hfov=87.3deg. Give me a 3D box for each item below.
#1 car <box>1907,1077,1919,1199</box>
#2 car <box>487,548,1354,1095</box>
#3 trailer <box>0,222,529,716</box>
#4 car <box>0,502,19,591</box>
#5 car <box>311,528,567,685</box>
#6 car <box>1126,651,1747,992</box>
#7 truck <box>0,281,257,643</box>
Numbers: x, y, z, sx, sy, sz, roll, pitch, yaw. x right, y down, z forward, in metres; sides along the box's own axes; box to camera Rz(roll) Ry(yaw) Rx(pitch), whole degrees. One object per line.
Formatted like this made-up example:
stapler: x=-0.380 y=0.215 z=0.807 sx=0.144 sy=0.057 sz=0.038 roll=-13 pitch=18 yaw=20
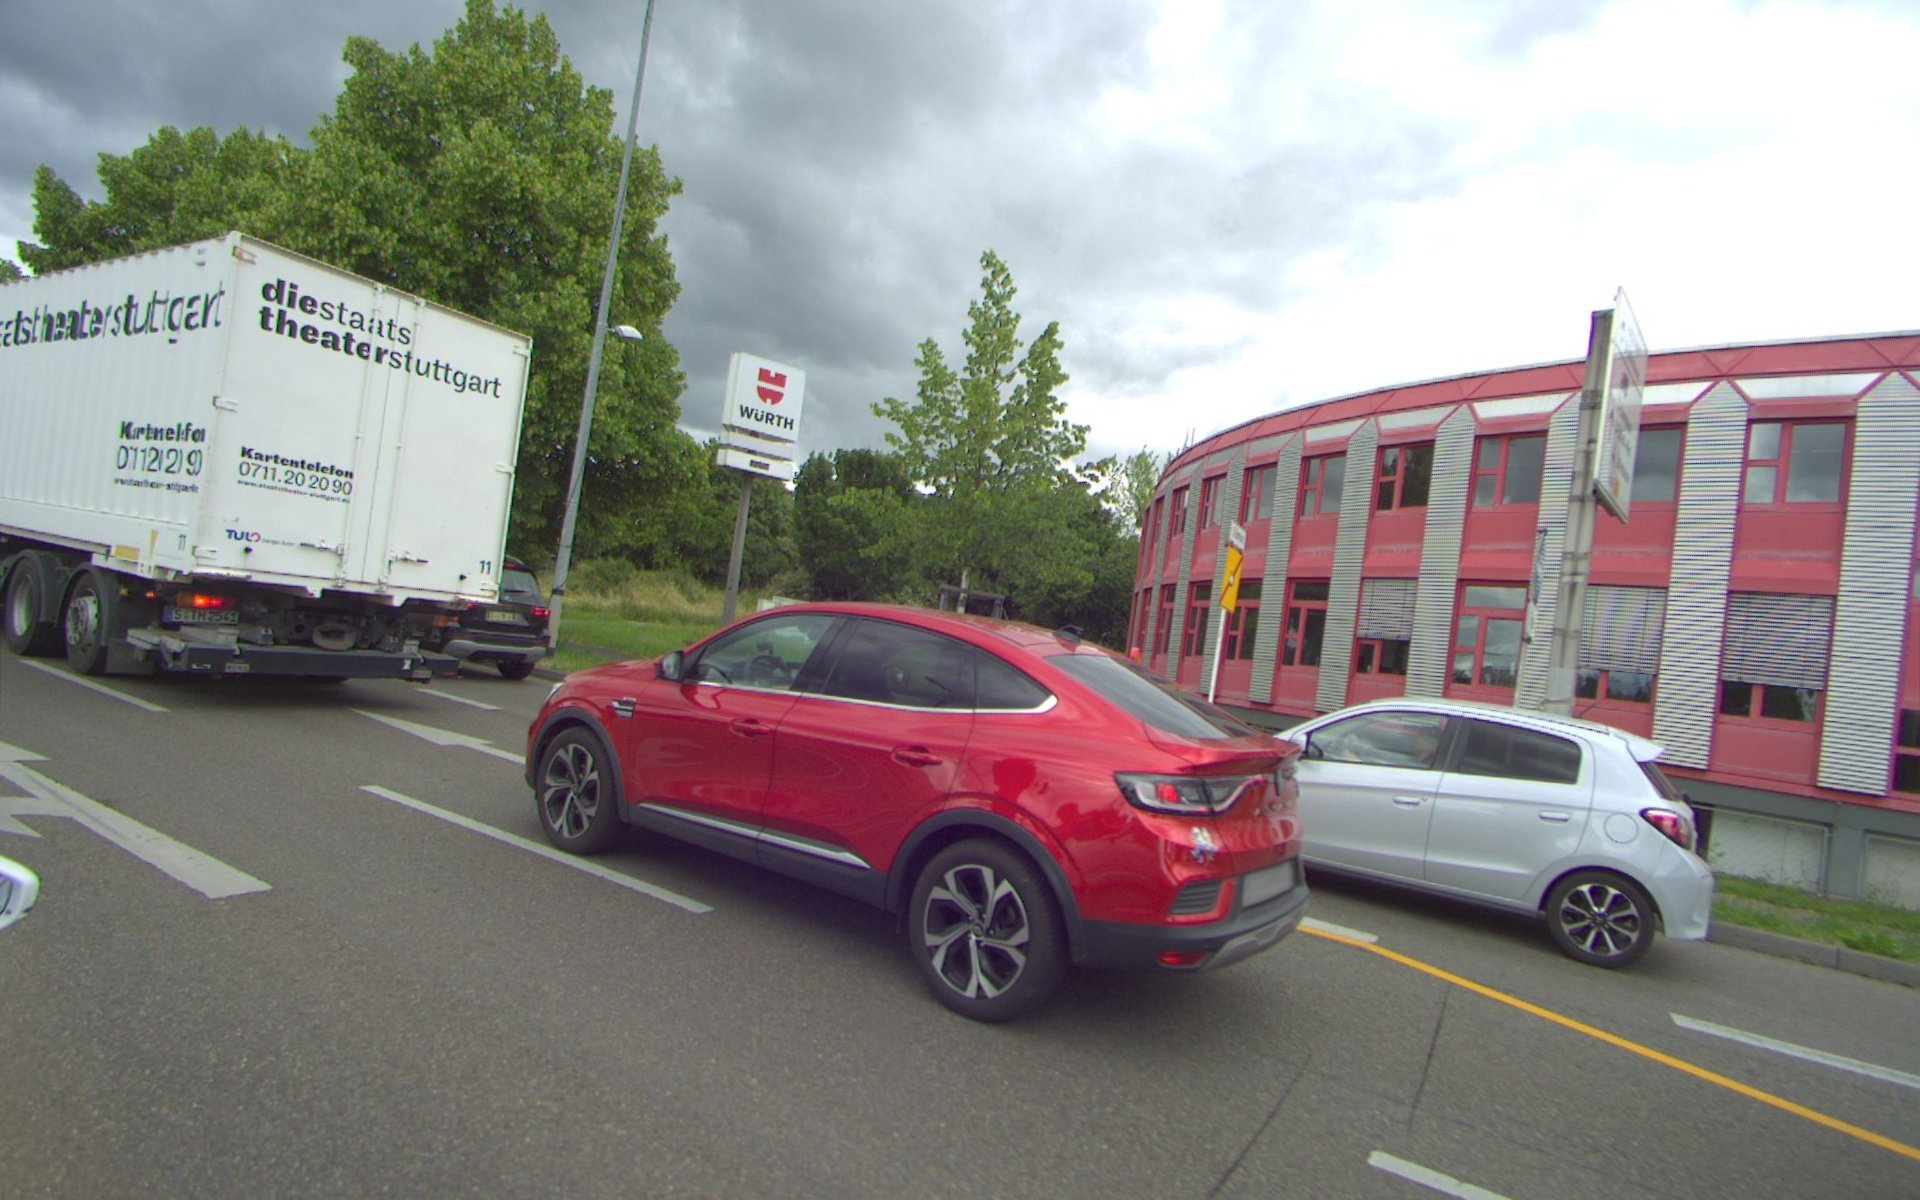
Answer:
car: x=4.542 y=1.339 z=1.441 sx=4.339 sy=1.579 sz=1.845 roll=7 pitch=-2 yaw=39
car: x=-0.431 y=0.761 z=5.284 sx=4.251 sy=1.542 sz=1.709 roll=7 pitch=-1 yaw=35
trailer: x=-8.271 y=-1.262 z=10.735 sx=7.637 sy=3.750 sz=2.569 roll=7 pitch=-1 yaw=33
car: x=-17.053 y=-1.081 z=16.187 sx=4.052 sy=1.370 sz=1.814 roll=6 pitch=-2 yaw=34
car: x=-7.092 y=0.079 z=13.679 sx=3.008 sy=1.588 sz=1.574 roll=8 pitch=-2 yaw=31
car: x=3.308 y=1.406 z=7.433 sx=3.627 sy=1.474 sz=1.626 roll=7 pitch=-2 yaw=32
truck: x=-11.576 y=-1.655 z=12.848 sx=4.039 sy=3.750 sz=2.574 roll=8 pitch=0 yaw=33
